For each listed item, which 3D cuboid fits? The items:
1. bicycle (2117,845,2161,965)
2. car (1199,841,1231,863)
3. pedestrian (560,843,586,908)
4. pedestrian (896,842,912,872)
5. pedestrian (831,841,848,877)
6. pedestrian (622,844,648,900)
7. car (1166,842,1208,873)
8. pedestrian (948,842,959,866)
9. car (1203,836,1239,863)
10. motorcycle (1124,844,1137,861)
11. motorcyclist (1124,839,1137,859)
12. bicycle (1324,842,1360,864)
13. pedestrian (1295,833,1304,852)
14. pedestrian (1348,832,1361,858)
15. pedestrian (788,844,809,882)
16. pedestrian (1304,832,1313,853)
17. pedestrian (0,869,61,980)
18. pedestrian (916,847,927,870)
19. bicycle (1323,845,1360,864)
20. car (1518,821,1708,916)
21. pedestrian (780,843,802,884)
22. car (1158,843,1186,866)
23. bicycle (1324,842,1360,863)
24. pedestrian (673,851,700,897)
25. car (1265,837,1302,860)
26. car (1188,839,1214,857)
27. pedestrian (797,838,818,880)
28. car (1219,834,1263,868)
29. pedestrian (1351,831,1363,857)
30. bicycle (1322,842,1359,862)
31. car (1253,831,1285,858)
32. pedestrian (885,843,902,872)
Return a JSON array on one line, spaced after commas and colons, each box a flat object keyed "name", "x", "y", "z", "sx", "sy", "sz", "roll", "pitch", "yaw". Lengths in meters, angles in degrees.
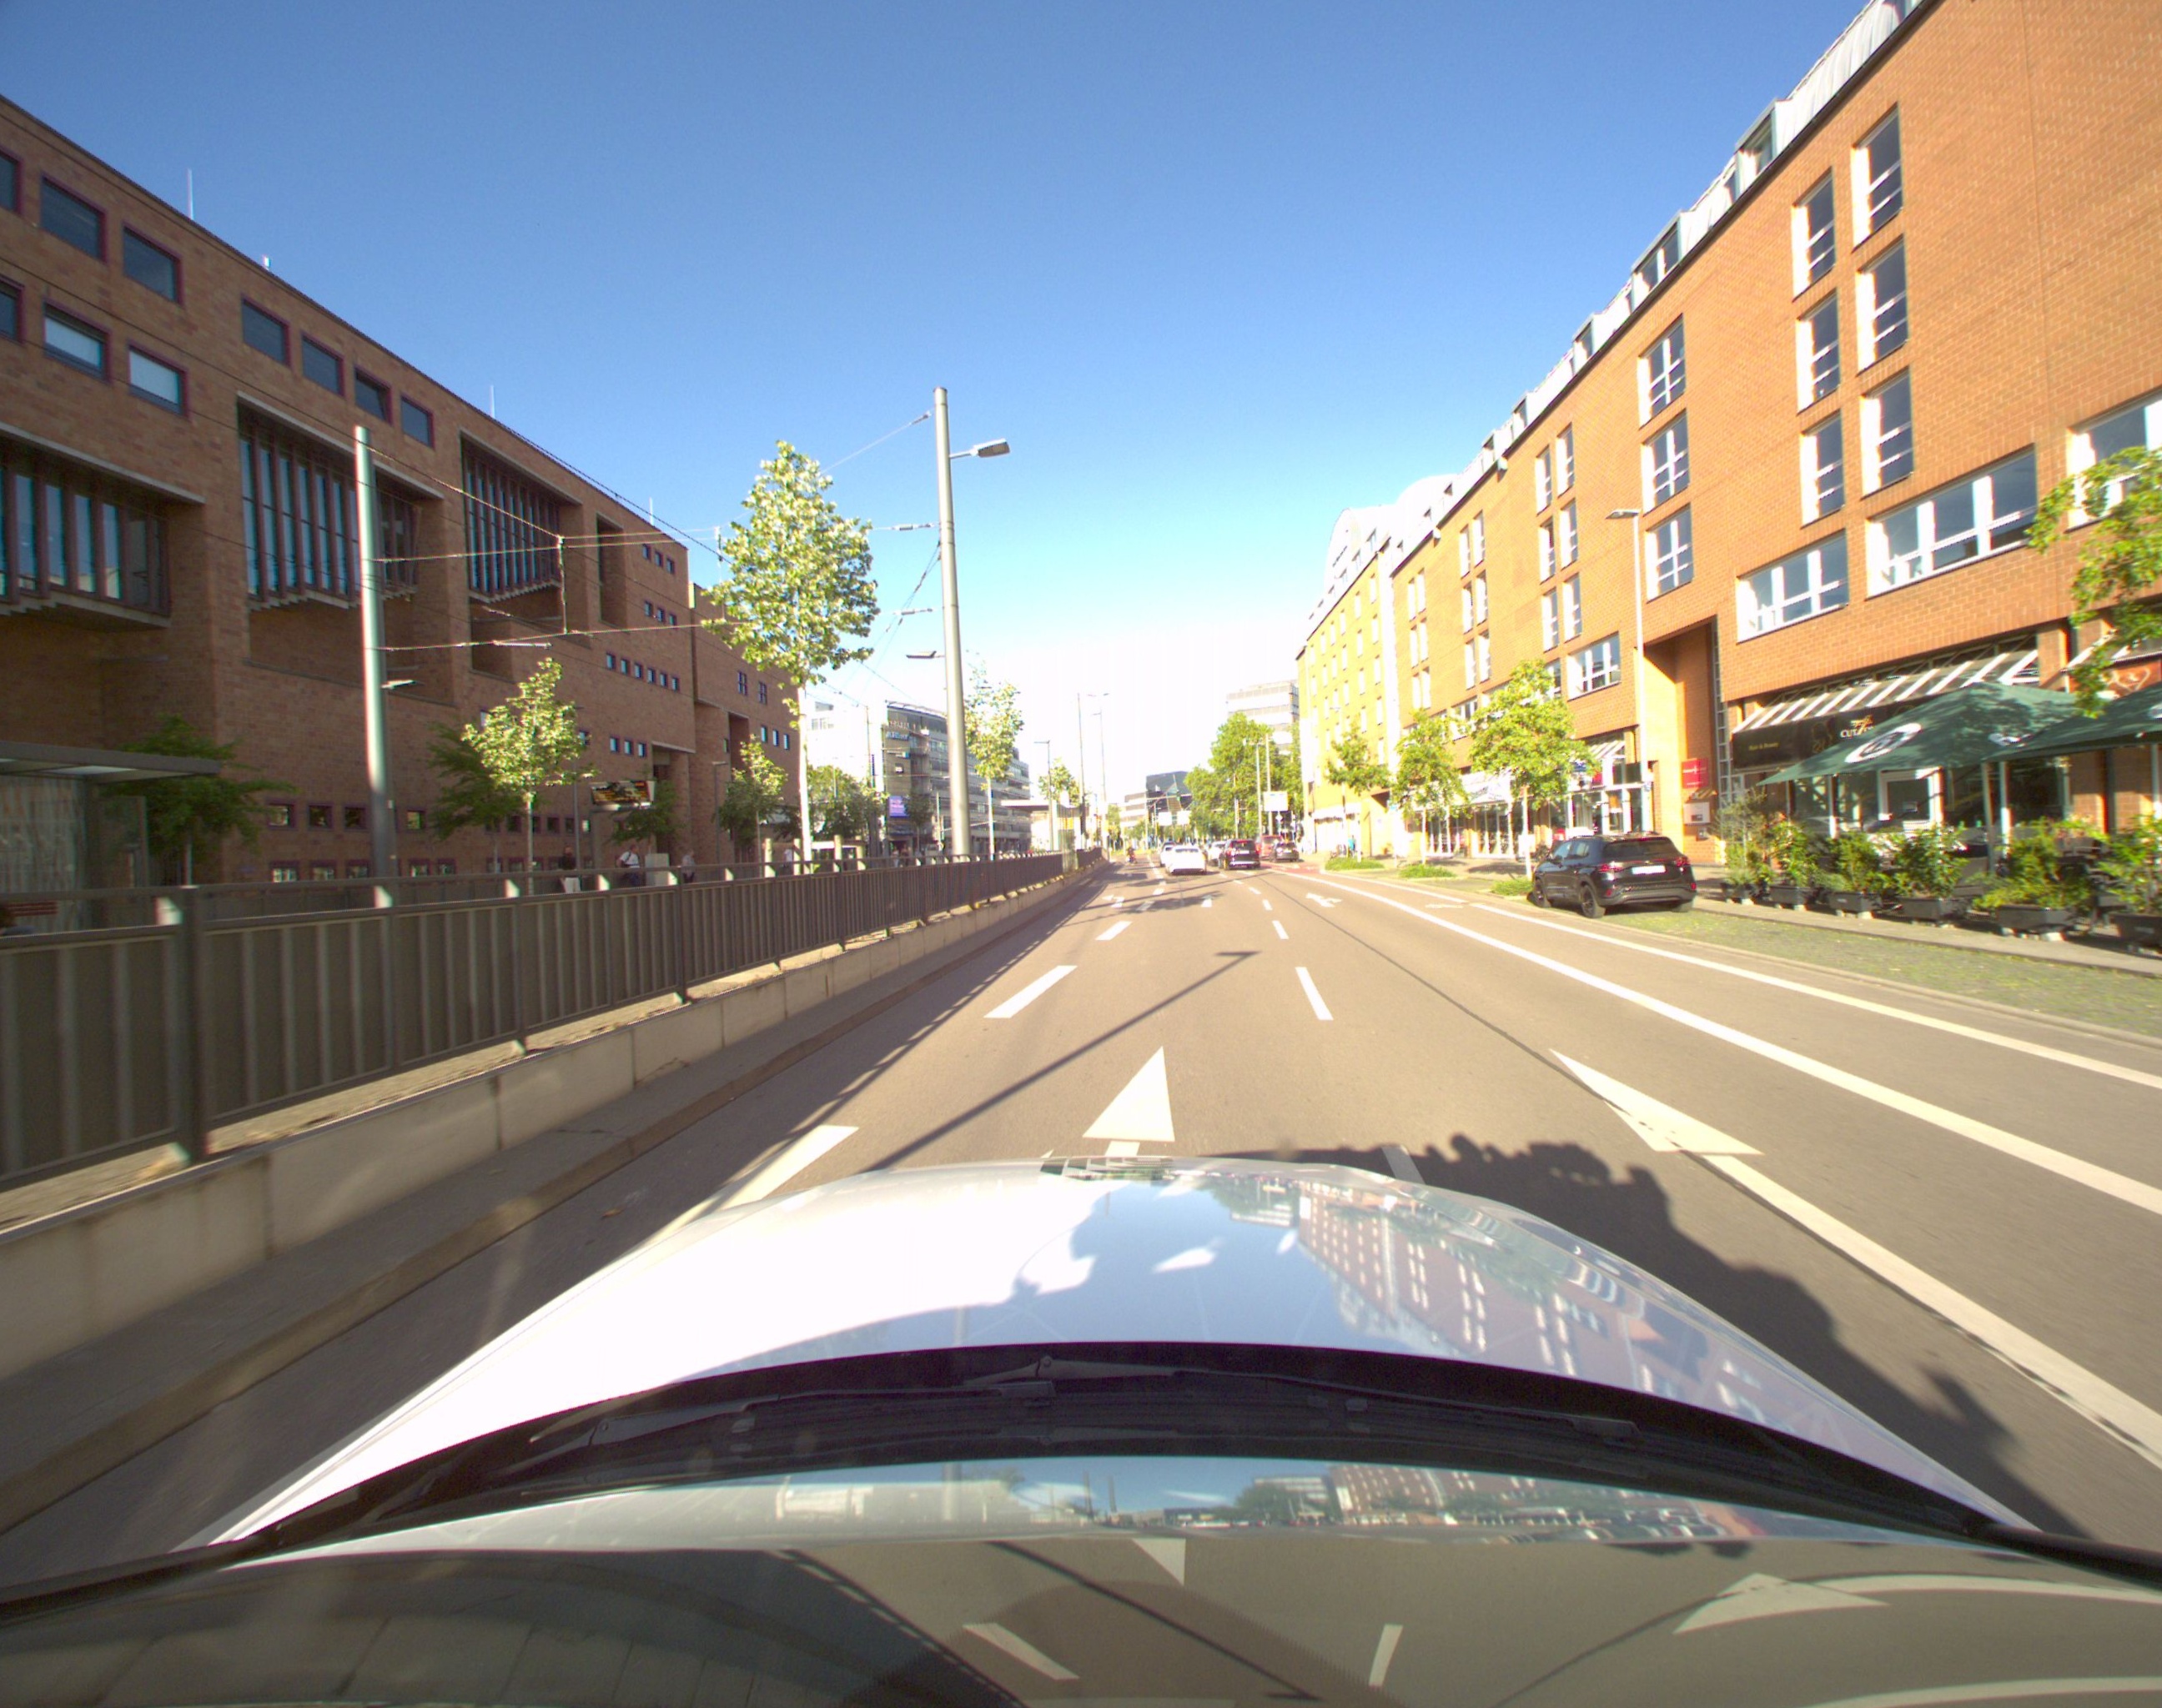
[{"name": "bicycle", "x": 10.412, "y": 0.447, "z": 6.842, "sx": 0.763, "sy": 1.081, "sz": 1.998, "roll": -8, "pitch": -1, "yaw": 1}, {"name": "car", "x": 9.883, "y": -0.159, "z": 60.331, "sx": 1.842, "sy": 1.497, "sz": 4.384, "roll": -2, "pitch": 1, "yaw": 4}, {"name": "pedestrian", "x": -13.092, "y": 0.542, "z": 20.989, "sx": 0.376, "sy": 1.648, "sz": 0.416, "roll": -1, "pitch": 0, "yaw": 4}, {"name": "pedestrian", "x": -9.898, "y": 0.176, "z": 45.544, "sx": 0.637, "sy": 1.643, "sz": 0.946, "roll": -1, "pitch": 0, "yaw": 4}, {"name": "pedestrian", "x": -12.018, "y": 0.242, "z": 40.533, "sx": 0.579, "sy": 1.738, "sz": 0.617, "roll": -2, "pitch": 0, "yaw": 4}, {"name": "pedestrian", "x": -12.920, "y": 0.515, "z": 23.595, "sx": 0.376, "sy": 1.621, "sz": 0.554, "roll": -1, "pitch": 0, "yaw": 4}, {"name": "car", "x": 5.235, "y": 0.129, "z": 40.701, "sx": 1.772, "sy": 1.414, "sz": 4.824, "roll": -1, "pitch": 1, "yaw": 4}, {"name": "pedestrian", "x": -10.178, "y": 0.000, "z": 64.899, "sx": 0.611, "sy": 1.817, "sz": 0.898, "roll": -2, "pitch": 0, "yaw": 4}, {"name": "car", "x": 9.157, "y": -0.282, "z": 53.638, "sx": 1.842, "sy": 1.639, "sz": 4.384, "roll": -2, "pitch": 0, "yaw": 4}, {"name": "motorcycle", "x": 4.064, "y": -0.156, "z": 66.475, "sx": 1.014, "sy": 1.312, "sz": 2.918, "roll": -1, "pitch": 1, "yaw": 5}, {"name": "motorcyclist", "x": 4.060, "y": -0.389, "z": 66.543, "sx": 1.014, "sy": 1.603, "sz": 1.150, "roll": -1, "pitch": 1, "yaw": 4}, {"name": "bicycle", "x": 15.301, "y": -0.064, "z": 47.830, "sx": 1.931, "sy": 1.137, "sz": 0.493, "roll": -4, "pitch": 0, "yaw": 14}, {"name": "pedestrian", "x": 21.242, "y": -1.113, "z": 79.079, "sx": 0.603, "sy": 1.821, "sz": 0.749, "roll": -3, "pitch": 0, "yaw": 3}, {"name": "pedestrian", "x": 19.332, "y": -0.657, "z": 57.584, "sx": 0.603, "sy": 1.821, "sz": 0.749, "roll": -3, "pitch": 0, "yaw": 3}, {"name": "pedestrian", "x": -12.297, "y": 0.395, "z": 35.459, "sx": 0.620, "sy": 1.611, "sz": 0.617, "roll": -2, "pitch": 0, "yaw": 4}, {"name": "pedestrian", "x": 20.197, "y": -1.012, "z": 72.326, "sx": 0.603, "sy": 1.821, "sz": 0.749, "roll": -3, "pitch": 0, "yaw": 3}, {"name": "pedestrian", "x": -13.241, "y": 0.875, "z": 9.916, "sx": 0.643, "sy": 1.309, "sz": 0.722, "roll": -4, "pitch": 0, "yaw": 4}, {"name": "pedestrian", "x": -11.228, "y": 0.335, "z": 57.218, "sx": 0.561, "sy": 1.609, "sz": 0.617, "roll": -2, "pitch": 0, "yaw": 4}, {"name": "bicycle", "x": 14.889, "y": 0.005, "z": 46.623, "sx": 1.928, "sy": 0.969, "sz": 0.557, "roll": -4, "pitch": 0, "yaw": 21}, {"name": "car", "x": 10.697, "y": 0.236, "z": 16.785, "sx": 1.710, "sy": 1.636, "sz": 4.244, "roll": -3, "pitch": 0, "yaw": 10}, {"name": "pedestrian", "x": -12.328, "y": 0.395, "z": 34.625, "sx": 0.620, "sy": 1.714, "sz": 0.617, "roll": -2, "pitch": 0, "yaw": 4}, {"name": "car", "x": 6.112, "y": -0.007, "z": 54.952, "sx": 1.685, "sy": 1.496, "sz": 4.415, "roll": -1, "pitch": 1, "yaw": 5}, {"name": "bicycle", "x": 15.155, "y": -0.098, "z": 47.317, "sx": 1.931, "sy": 1.075, "sz": 0.556, "roll": -4, "pitch": 0, "yaw": 15}, {"name": "pedestrian", "x": -12.781, "y": 0.634, "z": 26.397, "sx": 0.536, "sy": 1.459, "sz": 0.643, "roll": -1, "pitch": 0, "yaw": 4}, {"name": "car", "x": 14.379, "y": -0.401, "z": 57.997, "sx": 1.838, "sy": 1.560, "sz": 4.638, "roll": -1, "pitch": 1, "yaw": 5}, {"name": "car", "x": 10.375, "y": -0.549, "z": 70.777, "sx": 1.842, "sy": 1.497, "sz": 4.384, "roll": -2, "pitch": 1, "yaw": 4}, {"name": "pedestrian", "x": -11.113, "y": 0.199, "z": 33.132, "sx": 0.637, "sy": 1.695, "sz": 0.541, "roll": -1, "pitch": 0, "yaw": 4}, {"name": "car", "x": 8.984, "y": -0.189, "z": 46.074, "sx": 1.966, "sy": 1.759, "sz": 4.638, "roll": -1, "pitch": 1, "yaw": 4}, {"name": "pedestrian", "x": 19.870, "y": -0.717, "z": 58.618, "sx": 0.603, "sy": 1.821, "sz": 0.749, "roll": -3, "pitch": 0, "yaw": 3}, {"name": "bicycle", "x": 14.684, "y": -0.106, "z": 46.120, "sx": 1.928, "sy": 1.022, "sz": 0.504, "roll": -4, "pitch": 0, "yaw": 21}, {"name": "car", "x": 14.849, "y": -0.756, "z": 64.526, "sx": 1.851, "sy": 1.961, "sz": 4.007, "roll": -3, "pitch": 1, "yaw": 5}, {"name": "pedestrian", "x": -10.528, "y": 0.209, "z": 45.654, "sx": 0.637, "sy": 1.608, "sz": 0.946, "roll": -1, "pitch": 0, "yaw": 4}]
